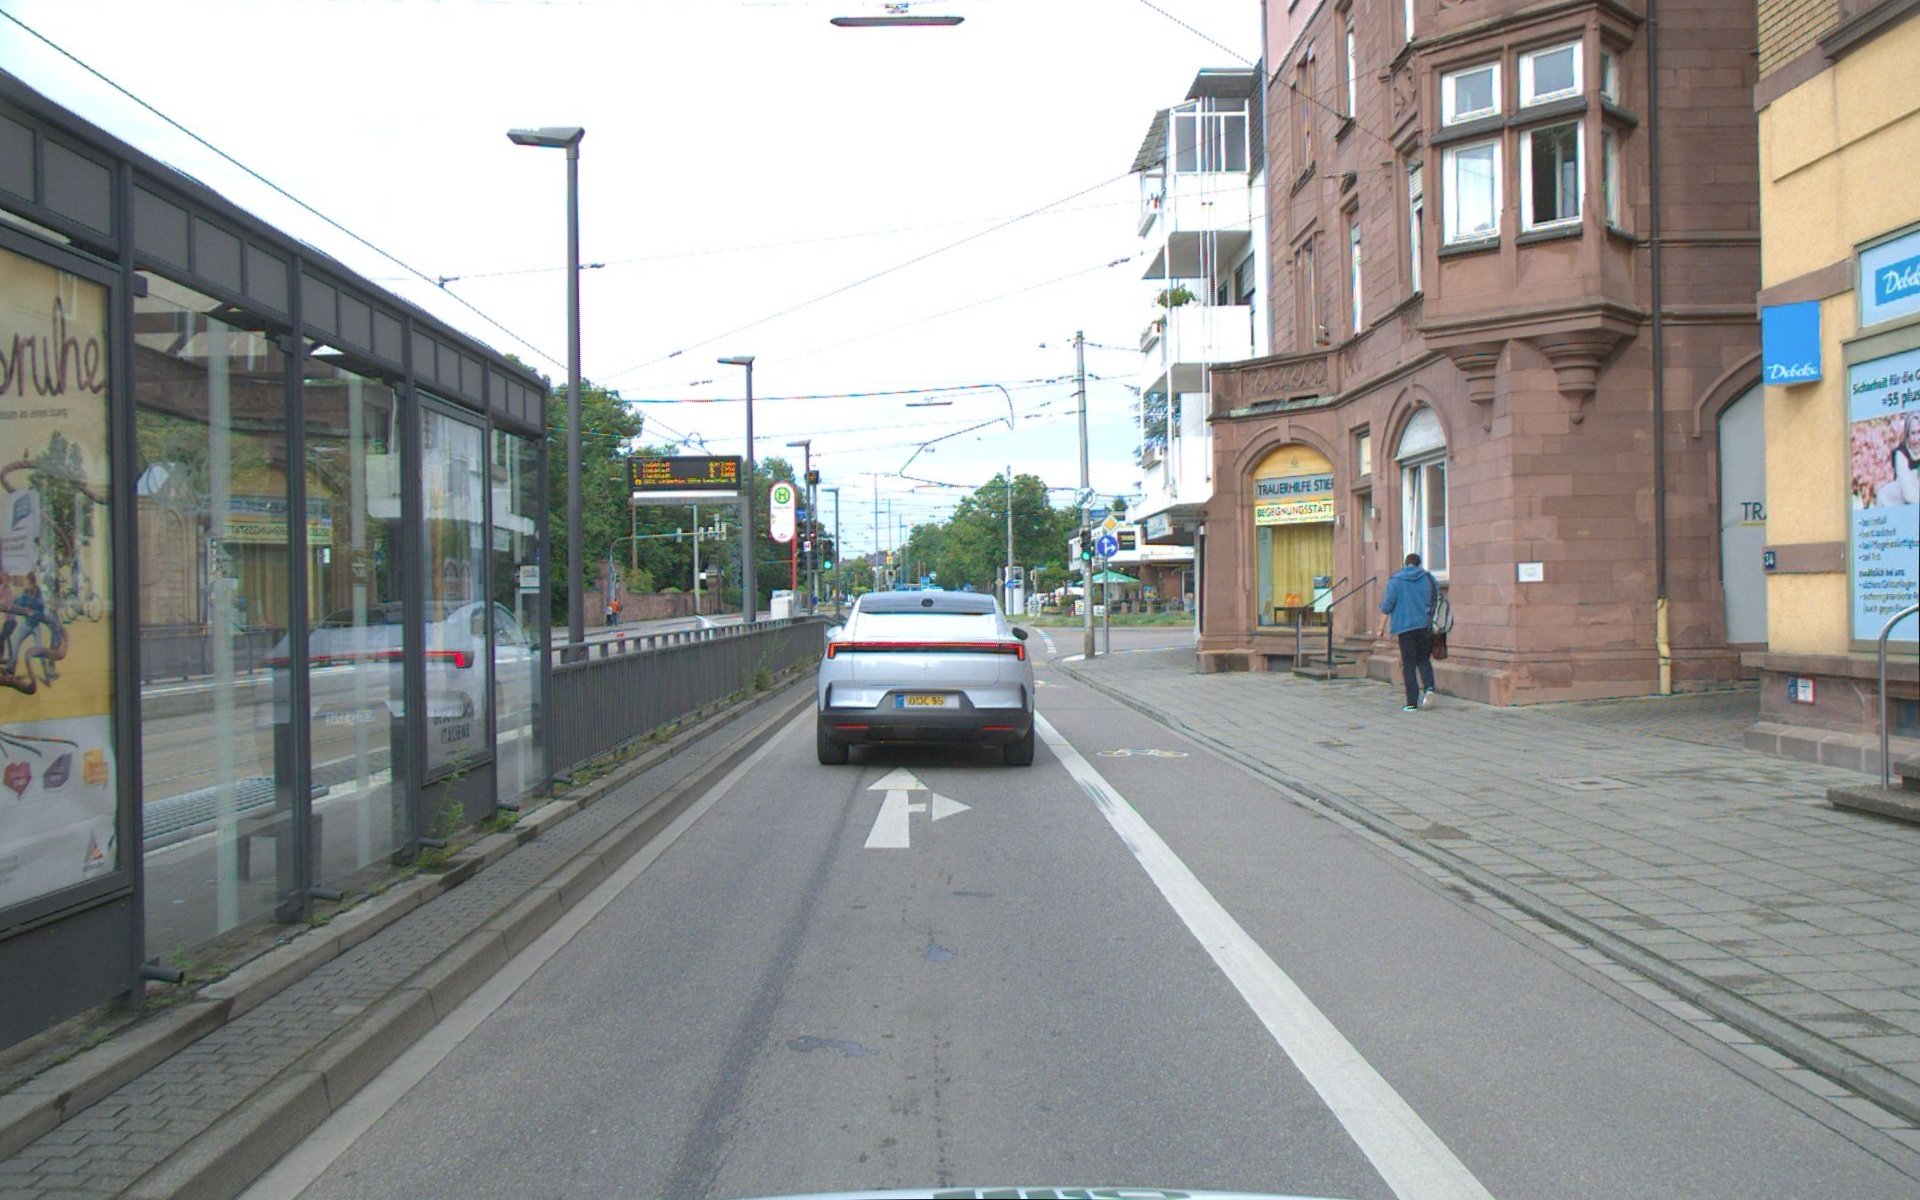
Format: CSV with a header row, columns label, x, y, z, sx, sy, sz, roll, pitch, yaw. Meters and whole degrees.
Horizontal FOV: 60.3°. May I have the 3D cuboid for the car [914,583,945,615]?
label,x,y,z,sx,sy,sz,roll,pitch,yaw
car,-2.432,-0.050,131.517,2.182,2.444,5.118,0,-1,-4

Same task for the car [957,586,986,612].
label,x,y,z,sx,sy,sz,roll,pitch,yaw
car,1.112,-0.068,166.488,2.750,2.549,5.721,0,-1,-1

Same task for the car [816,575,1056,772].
label,x,y,z,sx,sy,sz,roll,pitch,yaw
car,-0.366,0.629,15.606,1.960,1.609,3.995,0,-1,-5

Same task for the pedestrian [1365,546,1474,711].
label,x,y,z,sx,sy,sz,roll,pitch,yaw
pedestrian,5.492,0.324,19.821,0.941,1.882,0.975,-3,0,-1
